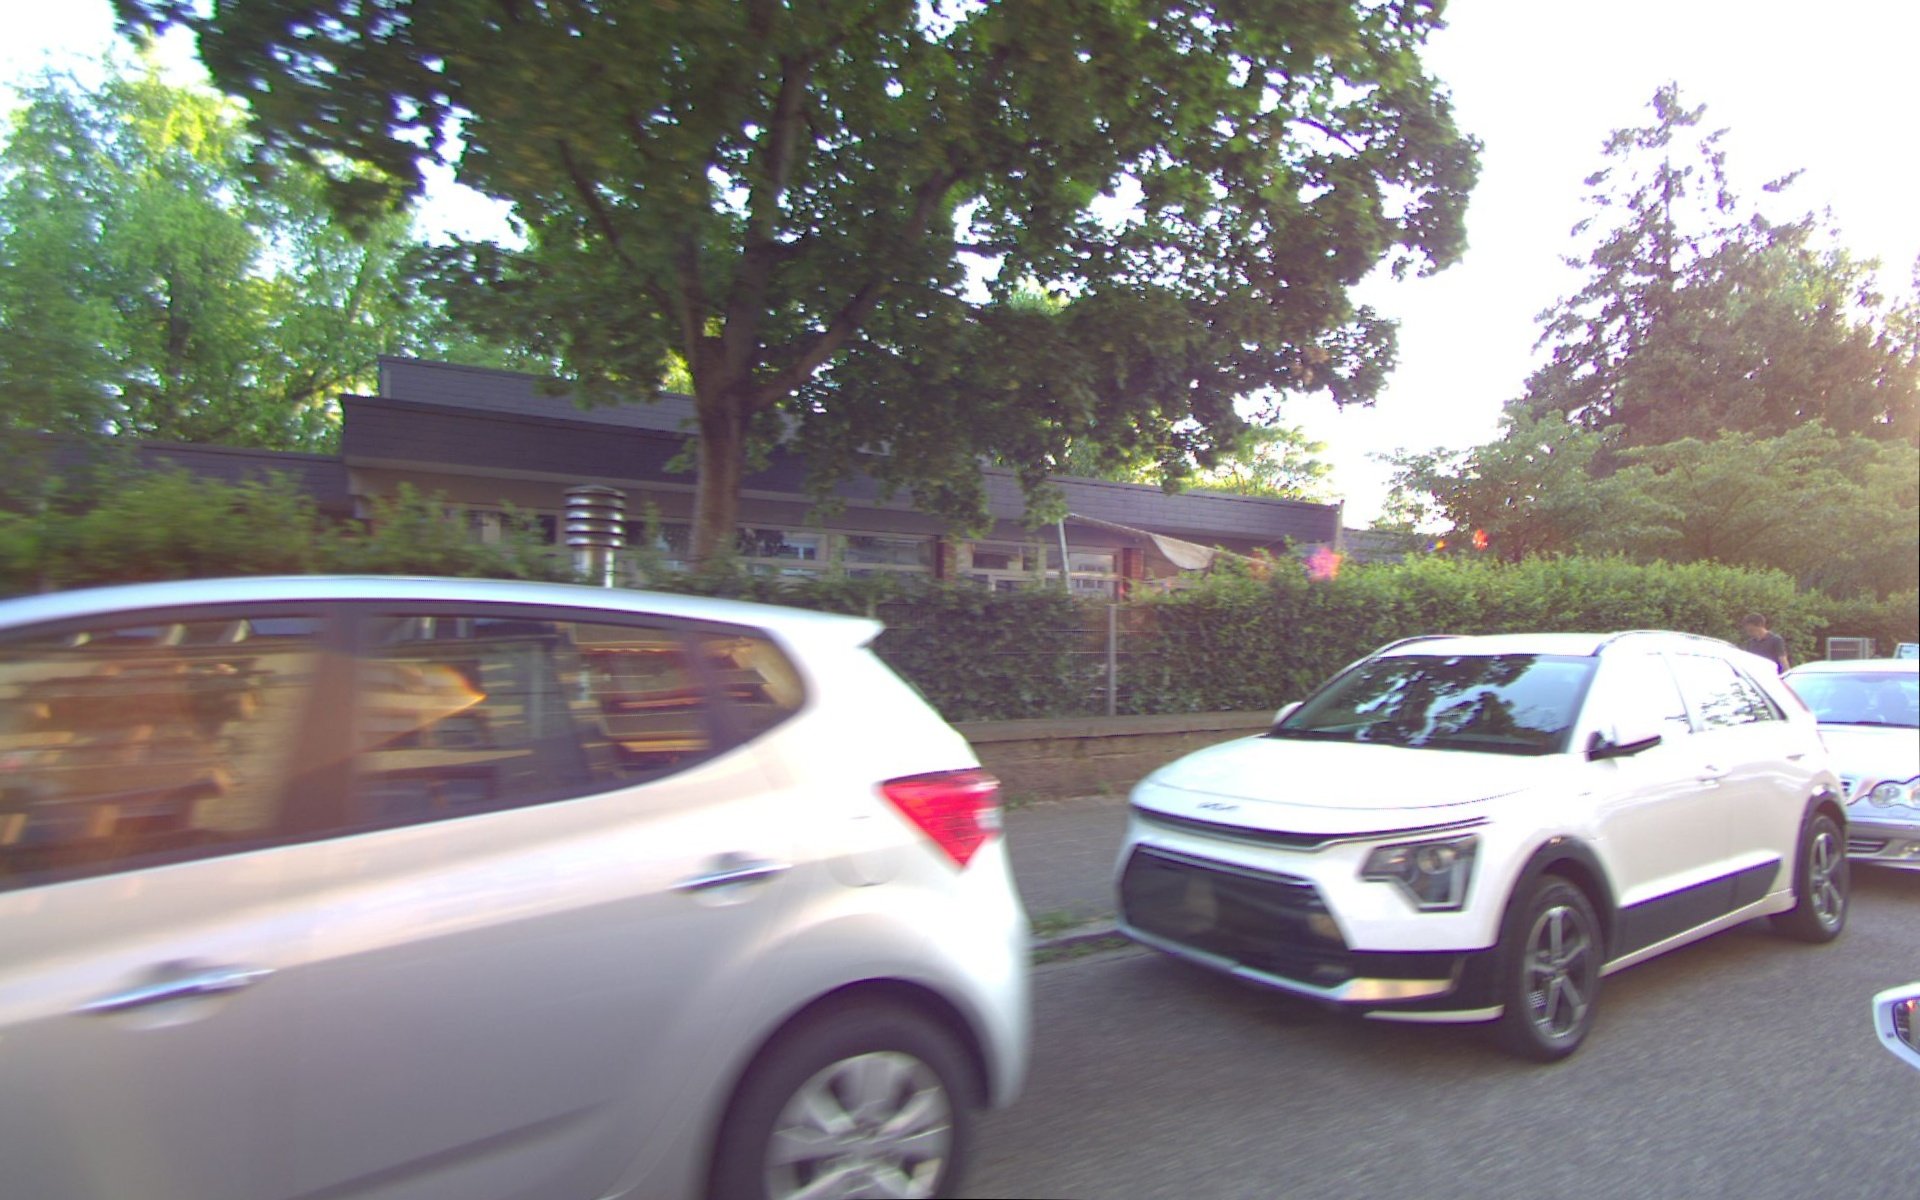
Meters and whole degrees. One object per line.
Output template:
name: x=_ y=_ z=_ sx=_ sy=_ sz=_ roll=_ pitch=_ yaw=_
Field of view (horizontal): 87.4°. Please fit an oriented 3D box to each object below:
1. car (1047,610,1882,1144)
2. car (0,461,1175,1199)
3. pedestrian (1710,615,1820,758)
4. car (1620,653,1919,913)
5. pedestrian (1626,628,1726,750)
car: x=2.619 y=0.904 z=4.880 sx=4.235 sy=1.563 sz=1.749 roll=2 pitch=-3 yaw=-33
car: x=-1.563 y=0.663 z=2.386 sx=3.933 sy=1.652 sz=1.726 roll=2 pitch=-3 yaw=-30
pedestrian: x=10.517 y=1.094 z=13.165 sx=0.735 sy=1.755 sz=0.902 roll=3 pitch=1 yaw=14
car: x=6.790 y=1.116 z=7.364 sx=4.242 sy=1.445 sz=1.724 roll=2 pitch=-3 yaw=-33
pedestrian: x=9.572 y=1.164 z=13.429 sx=0.892 sy=1.528 sz=0.744 roll=2 pitch=1 yaw=-32
